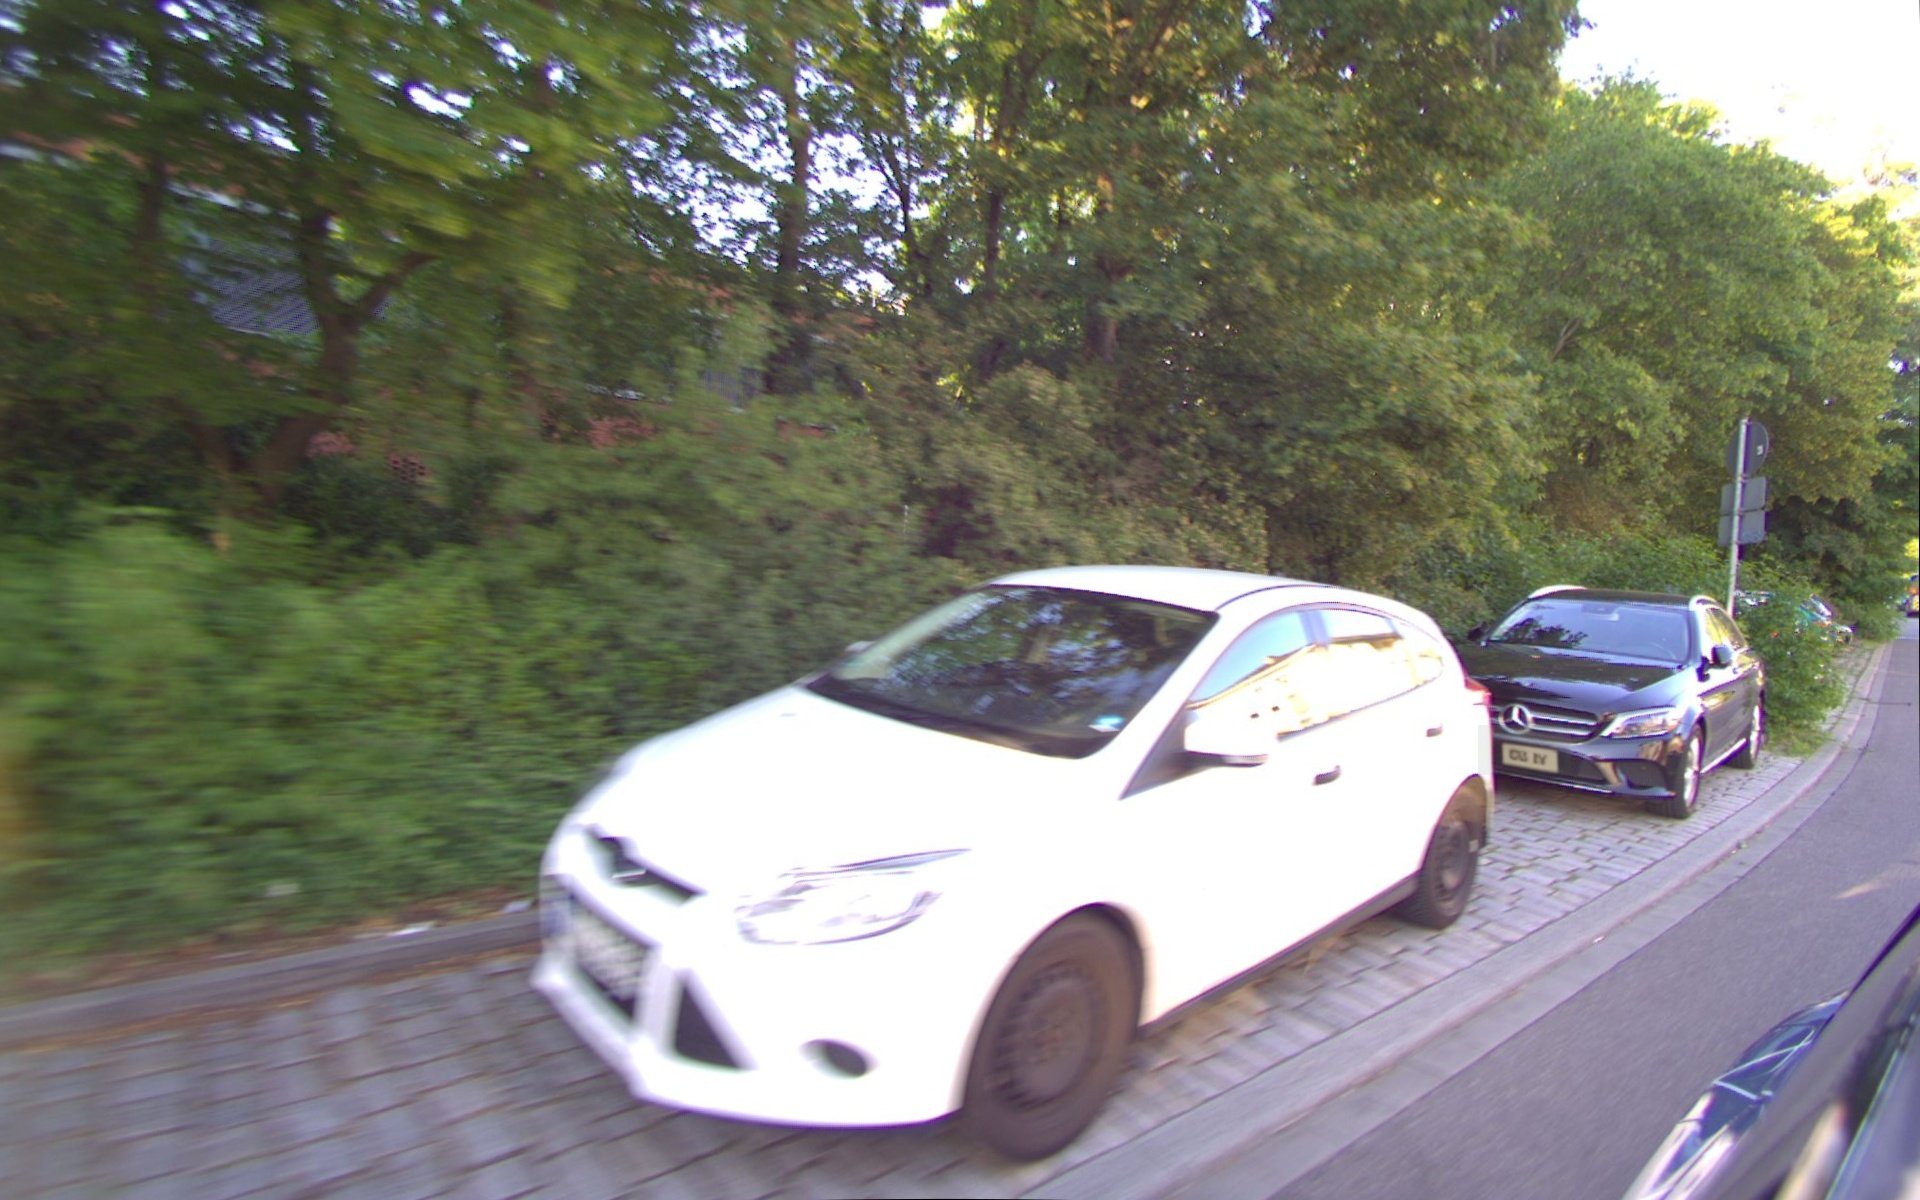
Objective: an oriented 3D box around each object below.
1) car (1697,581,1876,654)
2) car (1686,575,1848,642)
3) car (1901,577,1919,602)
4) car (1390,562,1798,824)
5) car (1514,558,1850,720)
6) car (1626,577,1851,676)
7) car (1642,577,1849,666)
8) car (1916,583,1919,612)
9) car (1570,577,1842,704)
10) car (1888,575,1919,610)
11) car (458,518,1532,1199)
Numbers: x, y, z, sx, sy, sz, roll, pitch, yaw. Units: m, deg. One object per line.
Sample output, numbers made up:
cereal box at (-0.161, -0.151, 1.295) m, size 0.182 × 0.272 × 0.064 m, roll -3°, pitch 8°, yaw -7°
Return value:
car at (19.604, 0.363, 24.072) m, size 1.504 × 1.478 × 3.113 m, roll 0°, pitch 3°, yaw -44°
car at (21.098, 0.175, 26.532) m, size 1.501 × 1.546 × 2.988 m, roll 0°, pitch 3°, yaw -37°
car at (81.259, -0.894, 85.544) m, size 4.809 × 2.038 × 2.225 m, roll 0°, pitch 3°, yaw -44°
car at (5.284, 0.510, 8.150) m, size 4.435 × 1.505 × 1.750 m, roll 0°, pitch 3°, yaw -44°
car at (9.212, 0.385, 13.051) m, size 1.652 × 1.745 × 3.259 m, roll 0°, pitch 3°, yaw -45°
car at (14.165, 0.408, 18.592) m, size 3.103 × 1.547 × 1.601 m, roll 4°, pitch 3°, yaw 37°
car at (15.873, 0.377, 20.536) m, size 1.504 × 1.547 × 3.112 m, roll 0°, pitch 3°, yaw -45°
car at (70.276, -0.120, 72.588) m, size 2.222 × 2.038 × 4.816 m, roll 4°, pitch 3°, yaw 42°
car at (10.727, 0.495, 14.657) m, size 1.594 × 1.547 × 2.866 m, roll 0°, pitch 3°, yaw -42°
car at (59.491, -0.463, 63.174) m, size 3.934 × 2.038 × 1.996 m, roll 0°, pitch 3°, yaw -44°
car at (0.531, 0.546, 3.914) m, size 4.106 × 1.505 × 1.750 m, roll 0°, pitch 3°, yaw -43°
